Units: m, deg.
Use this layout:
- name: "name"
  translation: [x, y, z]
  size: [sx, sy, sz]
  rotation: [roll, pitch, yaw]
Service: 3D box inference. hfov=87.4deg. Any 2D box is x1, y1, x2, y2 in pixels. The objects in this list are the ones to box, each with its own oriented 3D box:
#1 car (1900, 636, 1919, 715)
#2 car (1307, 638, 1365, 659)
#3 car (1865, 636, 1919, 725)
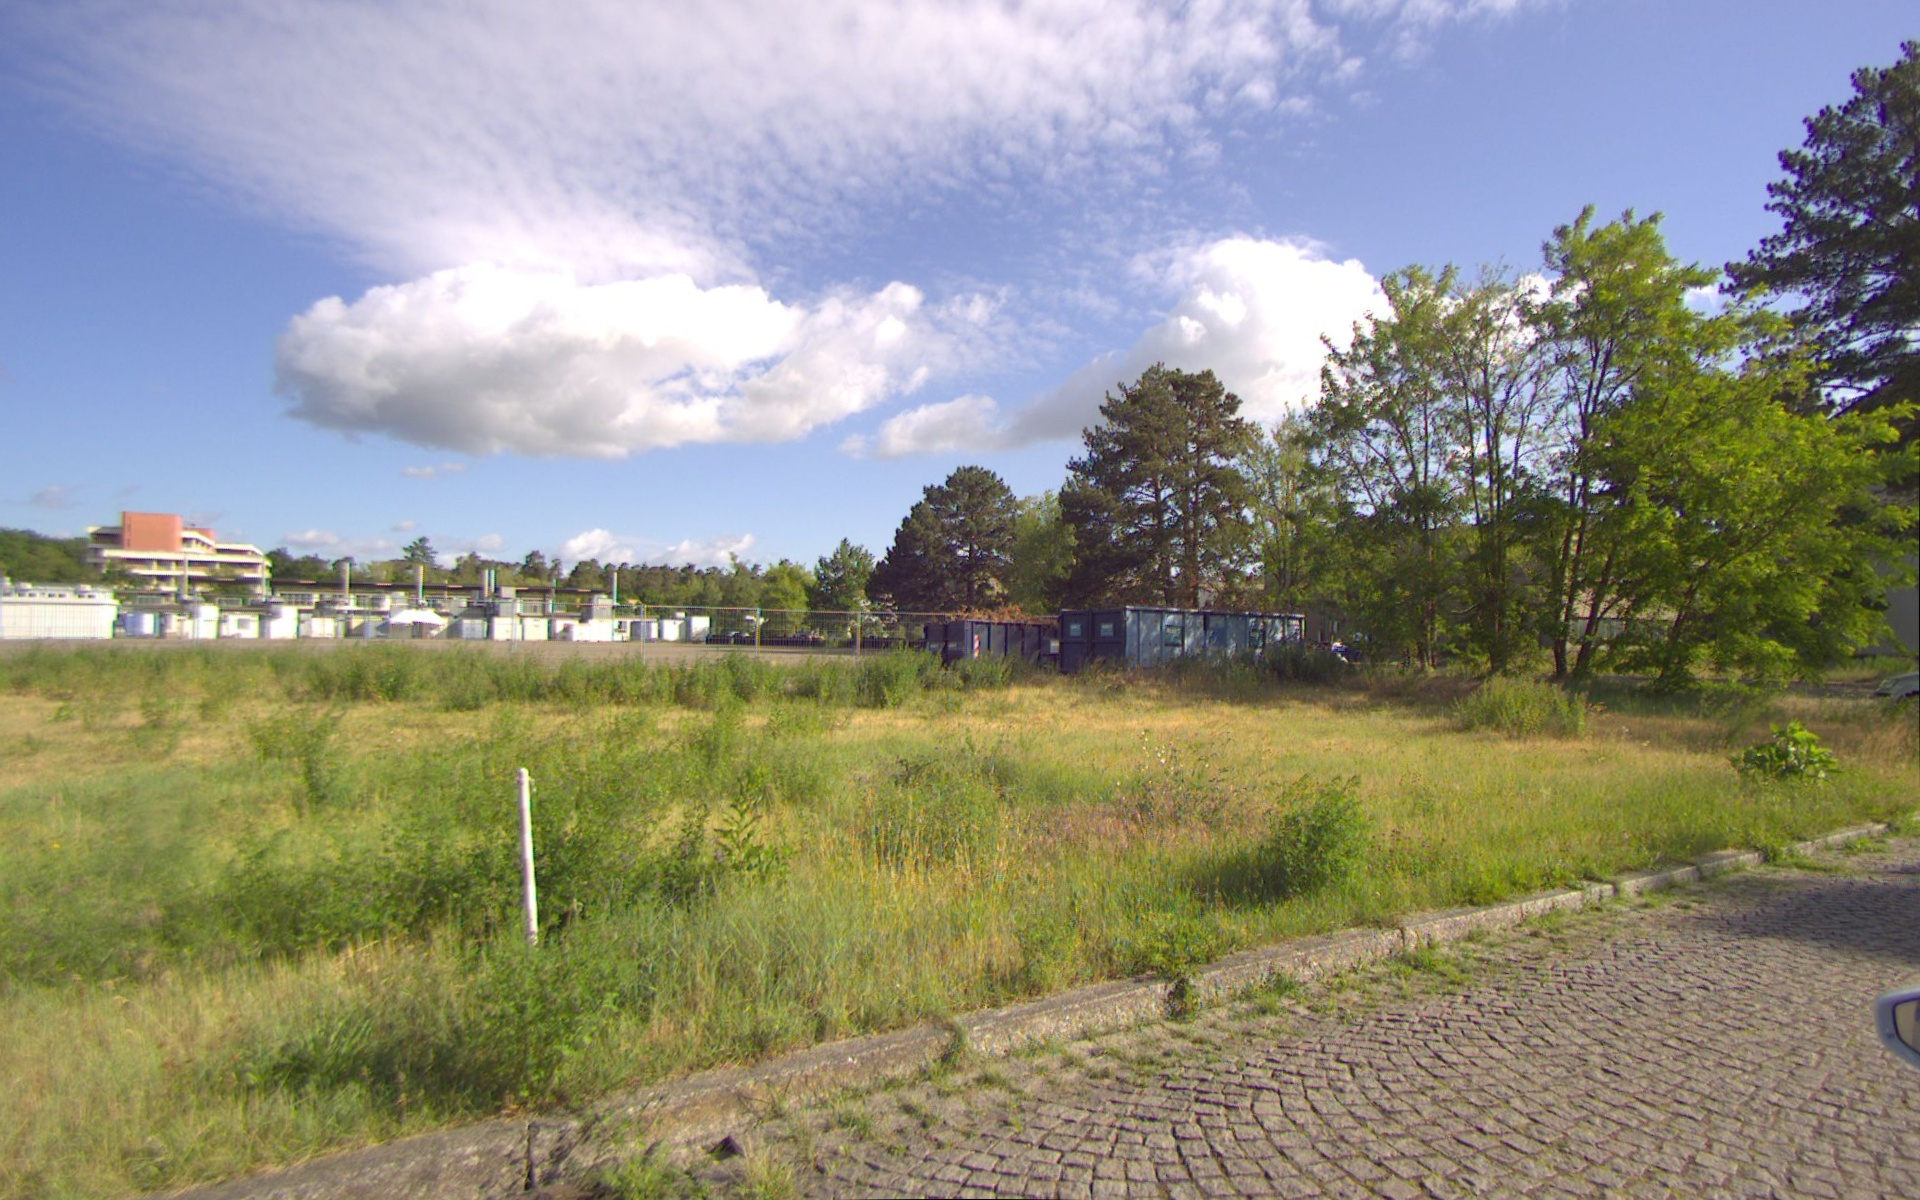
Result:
- name: "car"
  translation: [20.127, 1.504, 18.369]
  size: [1.784, 1.500, 3.963]
  rotation: [1, 0, -33]
- name: "car"
  translation: [27.230, 3.531, 72.731]
  size: [3.954, 1.452, 1.893]
  rotation: [3, -2, -30]
- name: "car"
  translation: [17.985, 1.450, 16.947]
  size: [1.628, 1.507, 3.724]
  rotation: [1, 0, -33]
